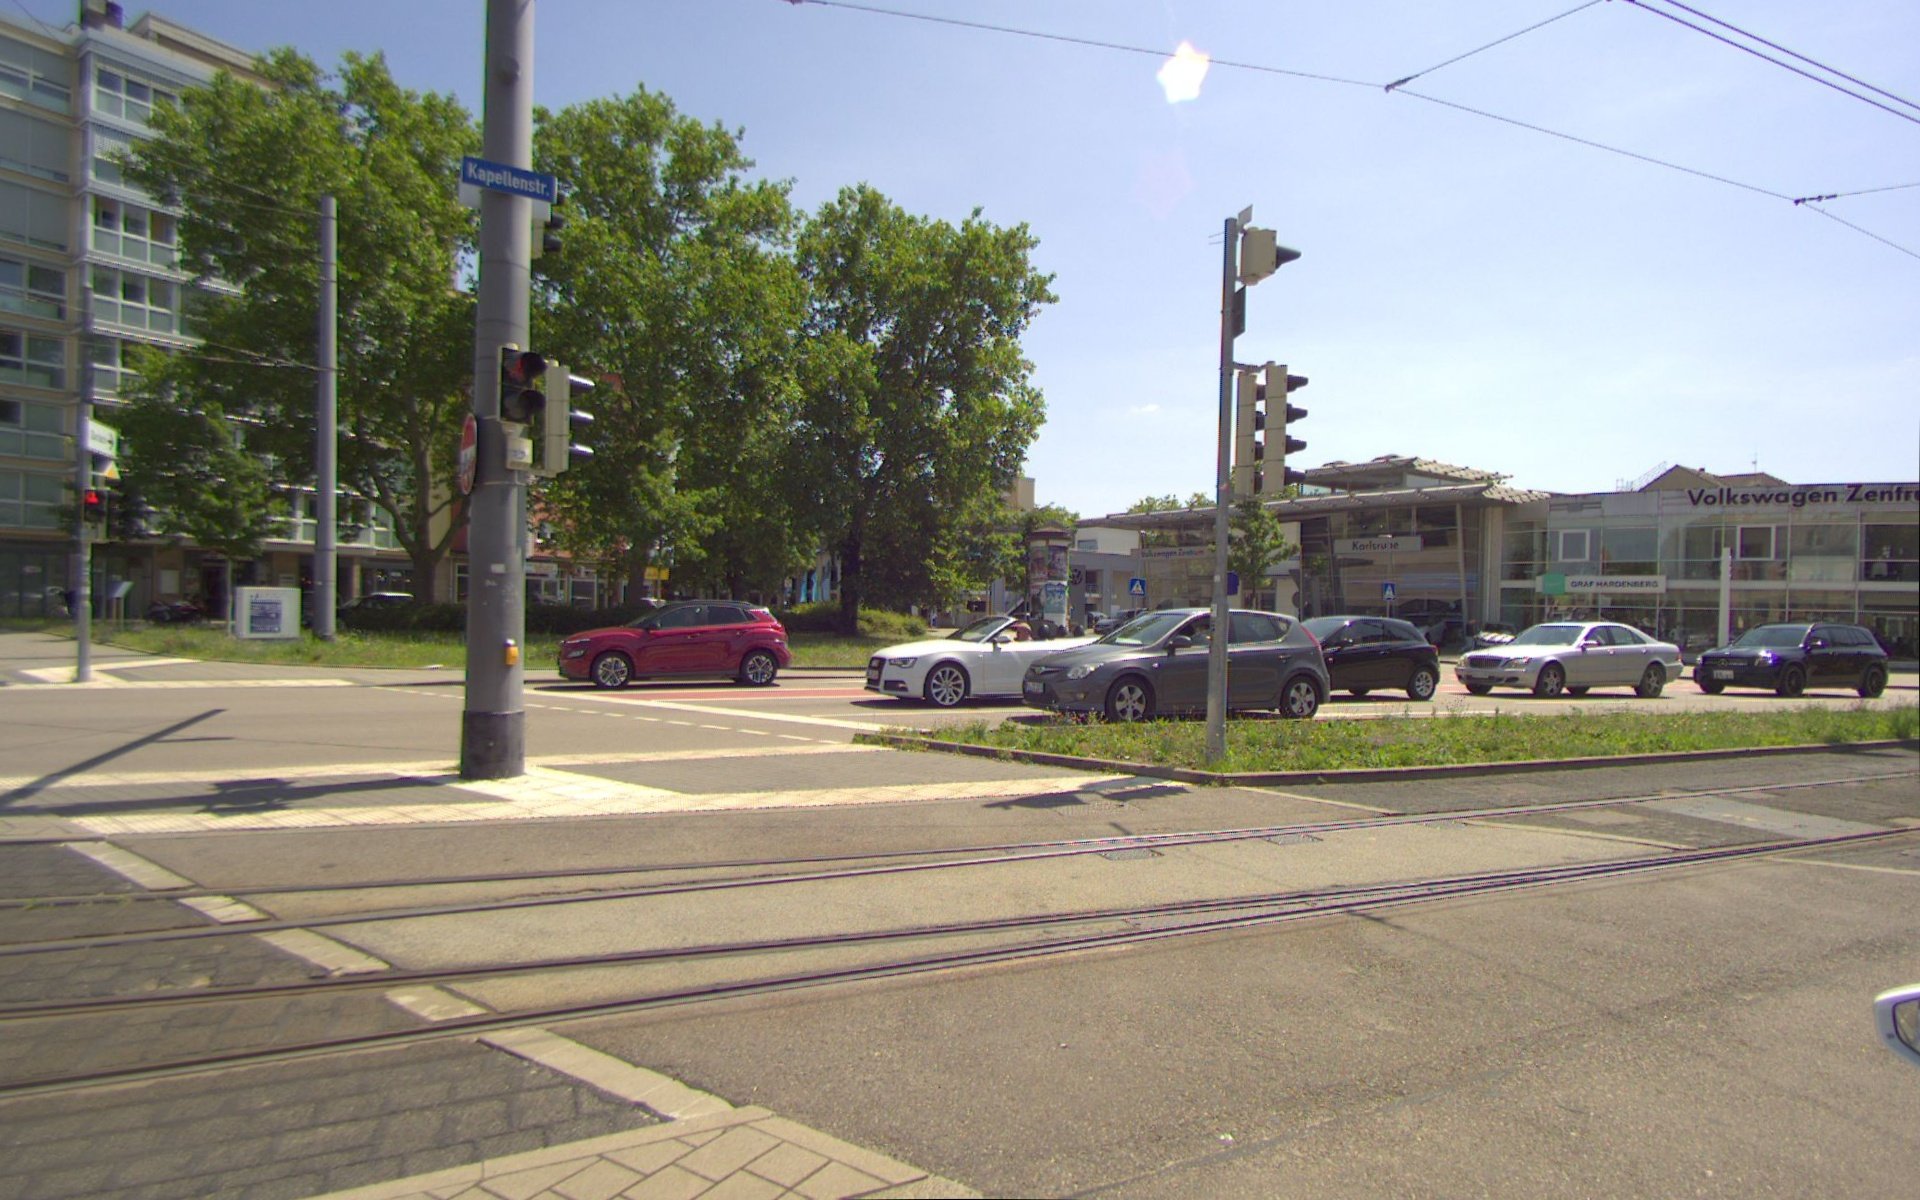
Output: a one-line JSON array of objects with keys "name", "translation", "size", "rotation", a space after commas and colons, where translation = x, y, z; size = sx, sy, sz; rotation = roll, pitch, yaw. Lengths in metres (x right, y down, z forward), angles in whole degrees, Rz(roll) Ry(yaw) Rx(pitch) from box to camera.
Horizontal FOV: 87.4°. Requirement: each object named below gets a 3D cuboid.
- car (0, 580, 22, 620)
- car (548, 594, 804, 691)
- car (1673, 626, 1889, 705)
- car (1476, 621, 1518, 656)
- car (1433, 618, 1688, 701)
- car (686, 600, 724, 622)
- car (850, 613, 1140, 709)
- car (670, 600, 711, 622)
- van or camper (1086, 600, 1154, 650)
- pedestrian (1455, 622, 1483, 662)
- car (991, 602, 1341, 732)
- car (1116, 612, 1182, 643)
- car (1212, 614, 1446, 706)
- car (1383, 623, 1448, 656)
[{"name": "car", "translation": [-29.335, 0.008, 30.233], "size": [0.493, 1.170, 1.988], "rotation": [1, 2, -6]}, {"name": "car", "translation": [-5.188, 0.773, 18.430], "size": [4.339, 1.618, 1.530], "rotation": [1, -2, -24]}, {"name": "car", "translation": [18.617, 1.468, 22.784], "size": [4.457, 1.648, 1.819], "rotation": [2, -2, -21]}, {"name": "car", "translation": [24.454, 1.708, 45.676], "size": [1.476, 1.476, 4.047], "rotation": [1, -1, 31]}, {"name": "car", "translation": [12.427, 1.232, 20.774], "size": [5.059, 1.550, 1.989], "rotation": [2, -2, -24]}, {"name": "car", "translation": [-18.800, 0.811, 74.003], "size": [1.274, 1.506, 3.165], "rotation": [2, 0, -43]}, {"name": "car", "translation": [0.559, 0.928, 15.463], "size": [4.145, 1.316, 1.702], "rotation": [2, -2, -24]}, {"name": "car", "translation": [-19.291, 0.772, 71.876], "size": [1.574, 1.506, 3.165], "rotation": [2, 0, -43]}, {"name": "van or camper", "translation": [10.159, 1.583, 63.817], "size": [3.960, 3.043, 1.980], "rotation": [1, 0, -35]}, {"name": "pedestrian", "translation": [21.903, 1.800, 43.229], "size": [0.808, 1.664, 0.726], "rotation": [1, 0, -20]}, {"name": "car", "translation": [2.721, 0.827, 13.309], "size": [4.267, 1.500, 1.840], "rotation": [1, -1, -23]}, {"name": "car", "translation": [11.623, 1.700, 61.604], "size": [4.060, 1.857, 1.645], "rotation": [2, -1, -36]}, {"name": "car", "translation": [6.550, 1.035, 17.822], "size": [3.849, 1.481, 1.666], "rotation": [2, -1, -24]}, {"name": "car", "translation": [21.443, 1.832, 47.210], "size": [1.589, 1.439, 4.165], "rotation": [1, -1, 42]}]
